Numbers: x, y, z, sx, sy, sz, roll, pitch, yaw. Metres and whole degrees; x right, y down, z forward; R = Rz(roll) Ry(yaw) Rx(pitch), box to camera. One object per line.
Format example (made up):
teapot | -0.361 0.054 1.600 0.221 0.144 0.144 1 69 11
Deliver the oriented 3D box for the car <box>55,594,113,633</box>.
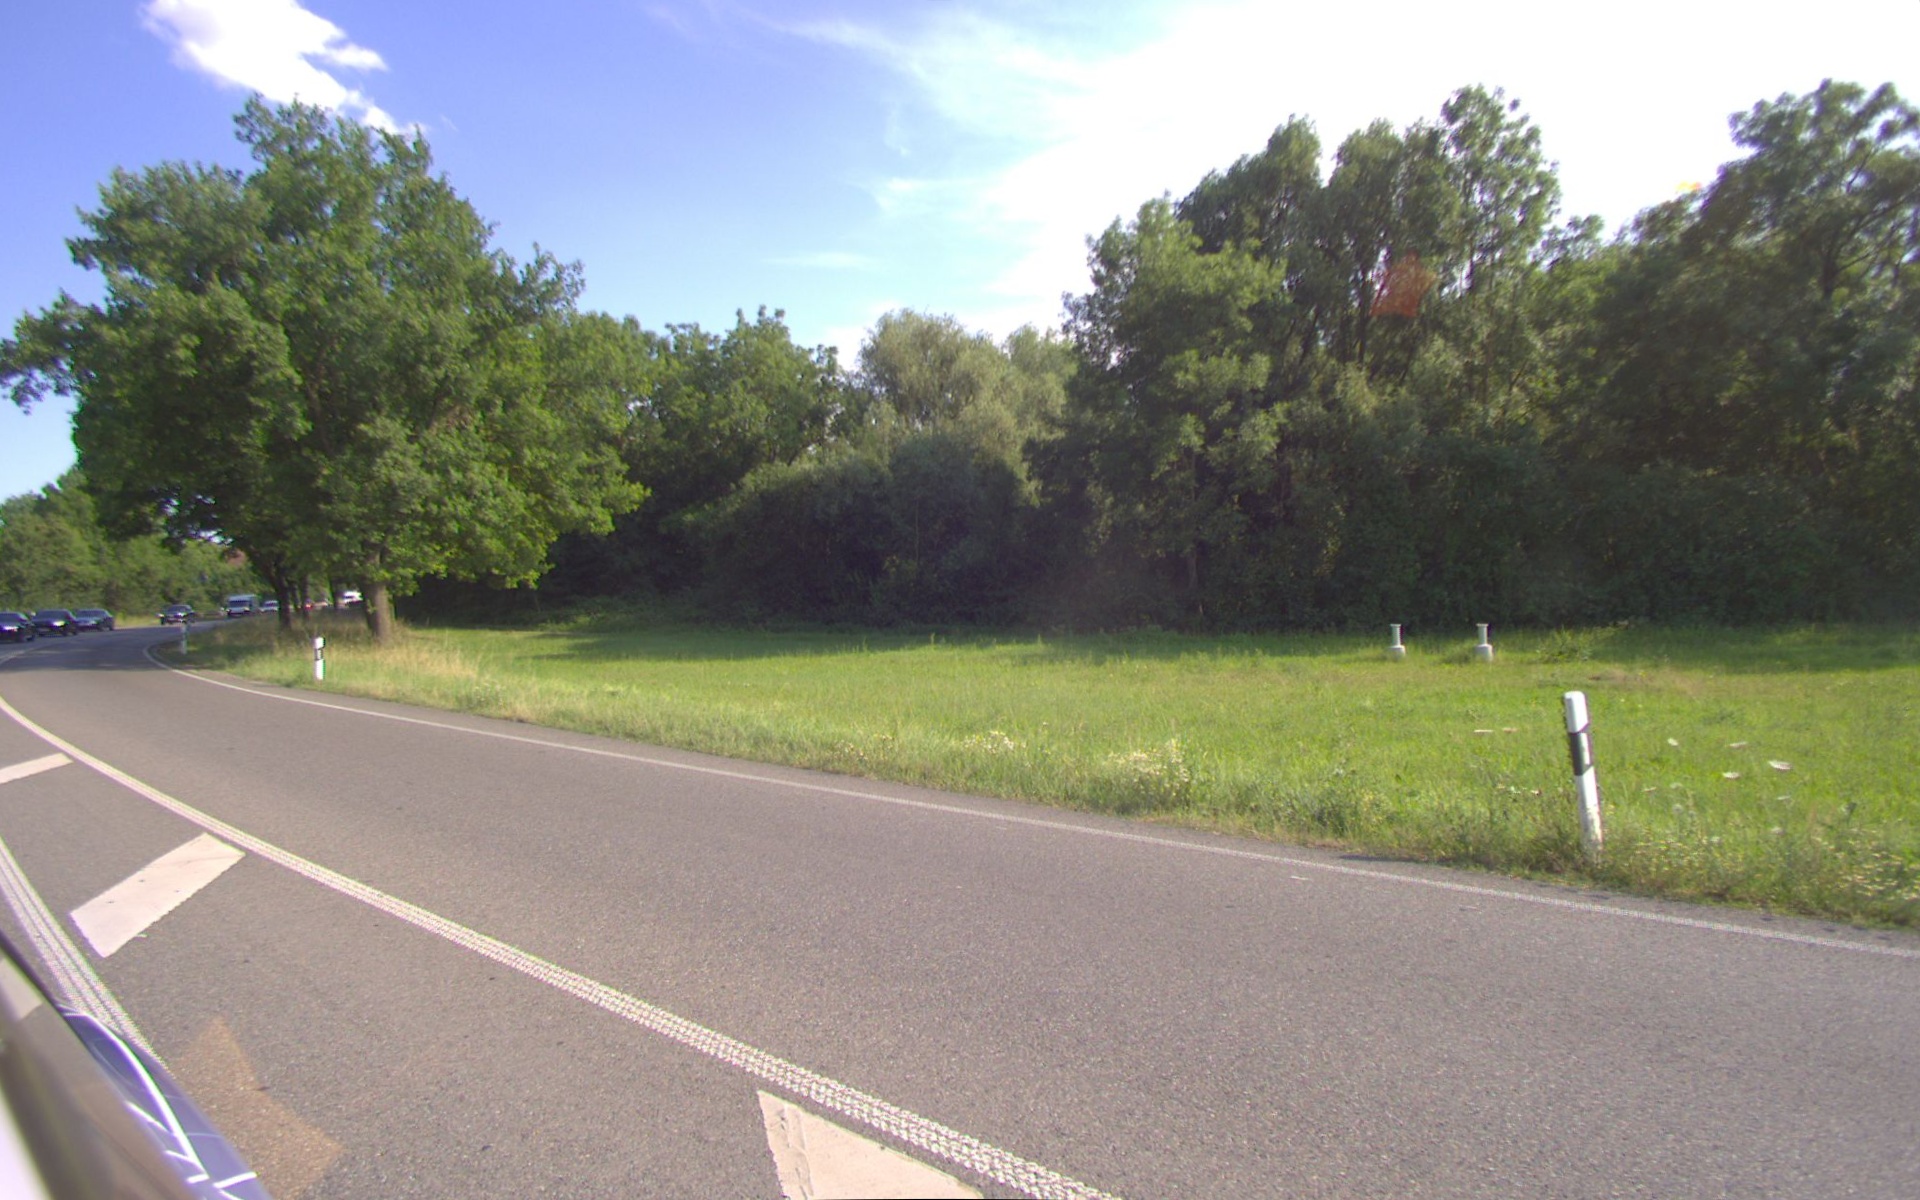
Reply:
car | -57.066 0.848 66.017 2.055 2.435 5.157 -1 1 -32

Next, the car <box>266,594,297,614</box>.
car | -83.503 0.446 124.537 2.054 2.435 5.159 -1 1 -21

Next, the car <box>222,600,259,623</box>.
car | -78.592 1.224 110.548 2.054 2.435 5.159 -1 1 -21

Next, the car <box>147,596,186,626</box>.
car | -66.886 0.914 85.415 2.055 2.435 5.157 -1 1 -32

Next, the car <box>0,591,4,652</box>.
car | -38.188 0.883 38.296 2.055 2.435 5.156 -1 1 -34

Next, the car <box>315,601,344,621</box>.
car | -78.254 1.356 125.605 2.054 2.435 5.159 -1 1 -21

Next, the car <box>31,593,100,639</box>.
car | -49.742 0.837 56.409 2.055 2.435 5.157 -1 1 -32

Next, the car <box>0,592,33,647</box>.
car | -45.150 0.881 47.094 2.055 2.435 5.157 -1 1 -32
